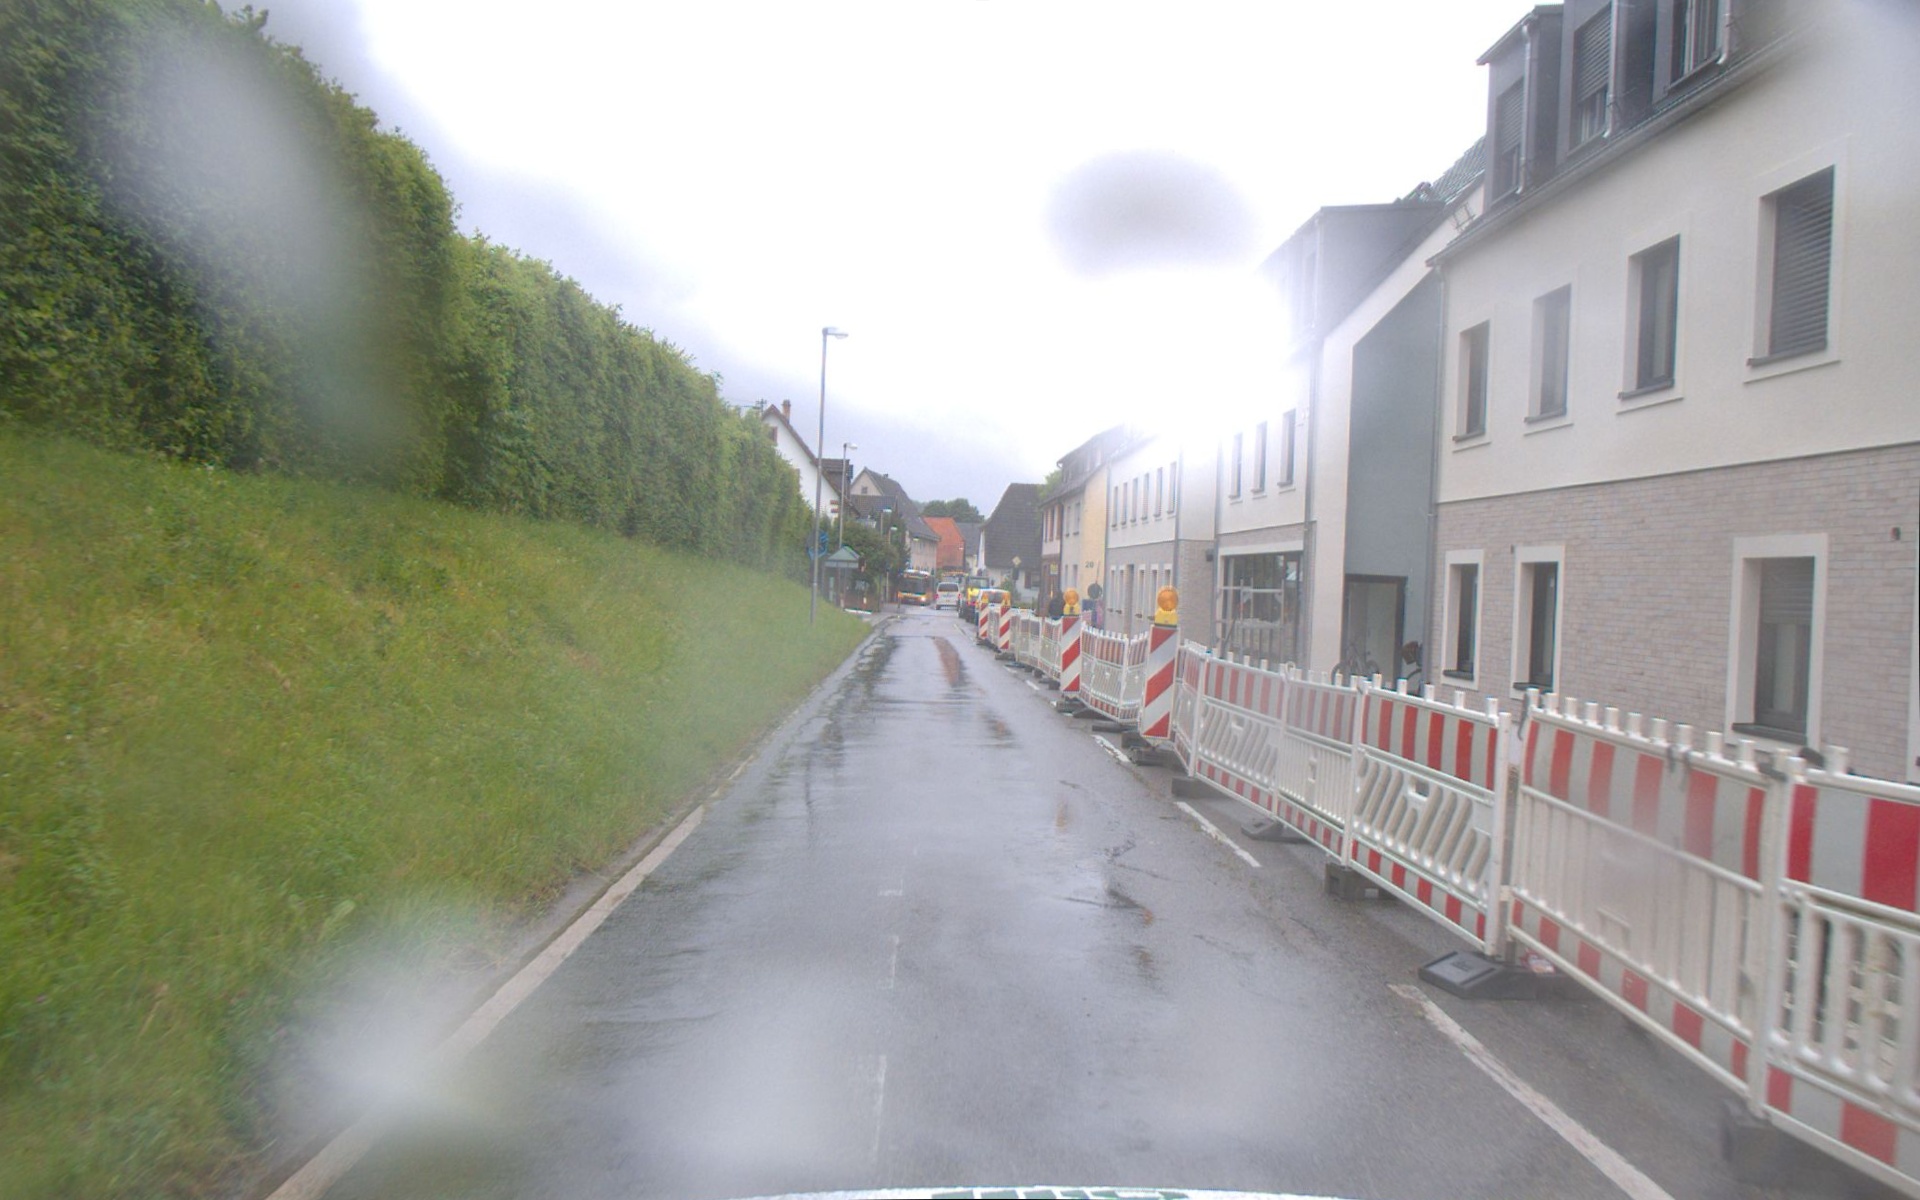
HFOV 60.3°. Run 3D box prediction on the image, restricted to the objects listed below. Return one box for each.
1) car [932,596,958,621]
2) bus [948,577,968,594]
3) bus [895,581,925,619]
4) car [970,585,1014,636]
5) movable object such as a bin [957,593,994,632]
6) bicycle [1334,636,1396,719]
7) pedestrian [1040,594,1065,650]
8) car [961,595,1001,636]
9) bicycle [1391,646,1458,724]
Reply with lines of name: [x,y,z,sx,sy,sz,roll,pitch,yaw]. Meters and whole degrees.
car: [-1.146,0.618,122.059,1.781,1.670,4.094,4,0,-1]
bus: [-0.138,-1.338,156.971,1.757,1.434,4.000,4,0,1]
bus: [-4.428,0.031,148.025,2.196,3.157,7.030,3,0,0]
car: [1.589,0.511,83.556,1.953,2.416,4.094,3,0,-1]
movable object such as a bin: [0.891,0.744,99.330,1.953,2.210,3.999,3,0,-2]
bicycle: [6.601,1.241,27.006,0.507,1.241,1.789,3,0,0]
pedestrian: [2.997,0.709,53.588,0.652,1.786,0.812,3,-1,0]
car: [1.124,0.833,89.304,1.953,2.048,3.999,4,0,-1]
bicycle: [7.381,1.328,26.343,0.507,1.122,1.789,3,0,0]
